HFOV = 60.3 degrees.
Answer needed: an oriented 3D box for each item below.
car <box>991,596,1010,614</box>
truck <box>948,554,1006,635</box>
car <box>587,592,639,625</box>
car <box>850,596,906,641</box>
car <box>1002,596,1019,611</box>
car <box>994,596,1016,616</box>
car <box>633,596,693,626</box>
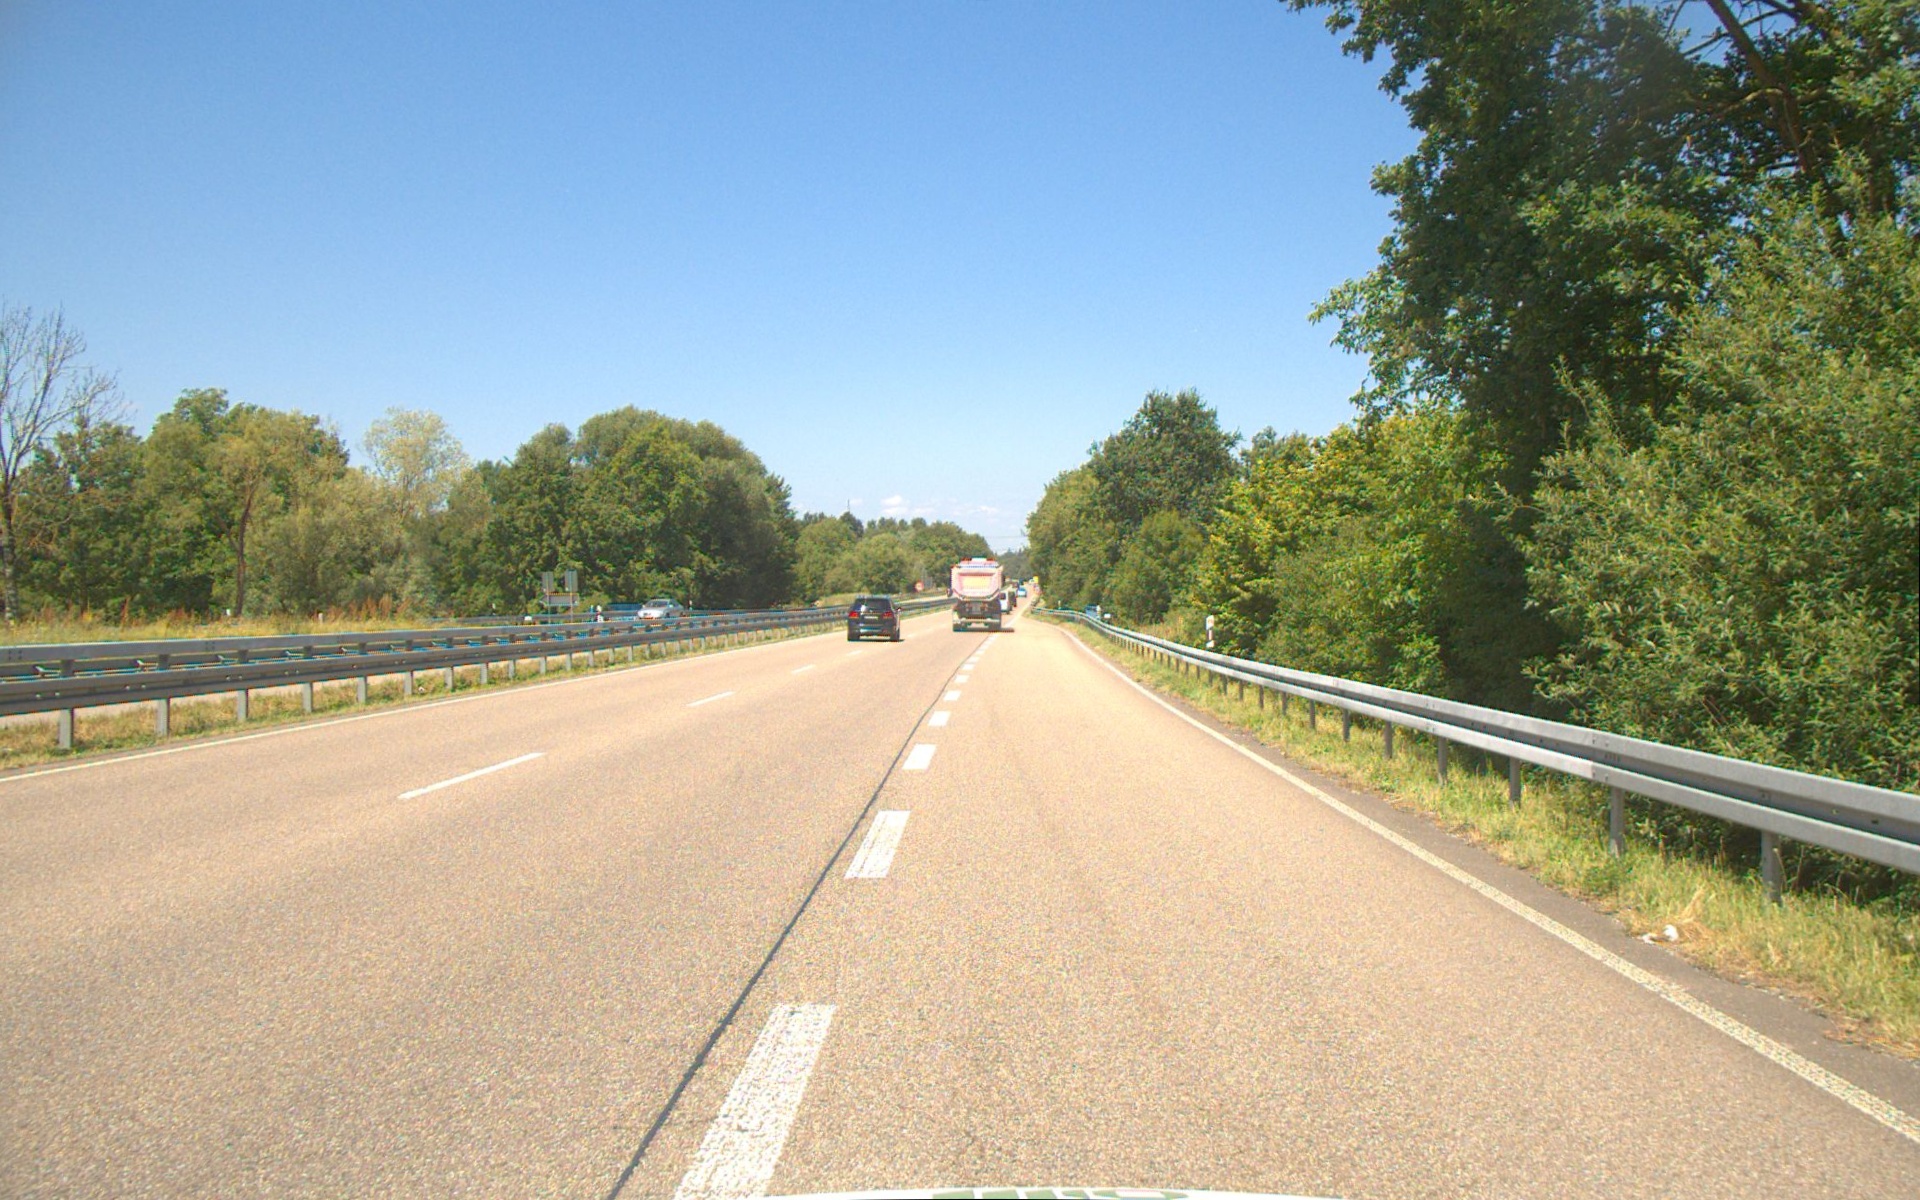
[{"bbox_3d":[4.077,0.496,165.881,1.819,1.700,4.001,0,-1,2],"label":"car"},{"bbox_3d":[1.015,-0.364,87.957,2.663,3.998,12.375,0,1,2],"label":"truck"},{"bbox_3d":[-16.925,0.429,80.867,1.880,1.515,3.997,1,-1,-3],"label":"car"},{"bbox_3d":[-3.183,0.740,64.815,1.819,1.700,4.001,0,-1,2],"label":"car"},{"bbox_3d":[5.828,0.435,190.623,1.819,1.700,4.001,0,-1,2],"label":"car"},{"bbox_3d":[3.975,0.571,145.898,1.819,1.700,4.001,0,-1,2],"label":"car"},{"bbox_3d":[-17.594,0.649,98.339,1.687,1.673,4.947,1,0,13],"label":"car"}]
